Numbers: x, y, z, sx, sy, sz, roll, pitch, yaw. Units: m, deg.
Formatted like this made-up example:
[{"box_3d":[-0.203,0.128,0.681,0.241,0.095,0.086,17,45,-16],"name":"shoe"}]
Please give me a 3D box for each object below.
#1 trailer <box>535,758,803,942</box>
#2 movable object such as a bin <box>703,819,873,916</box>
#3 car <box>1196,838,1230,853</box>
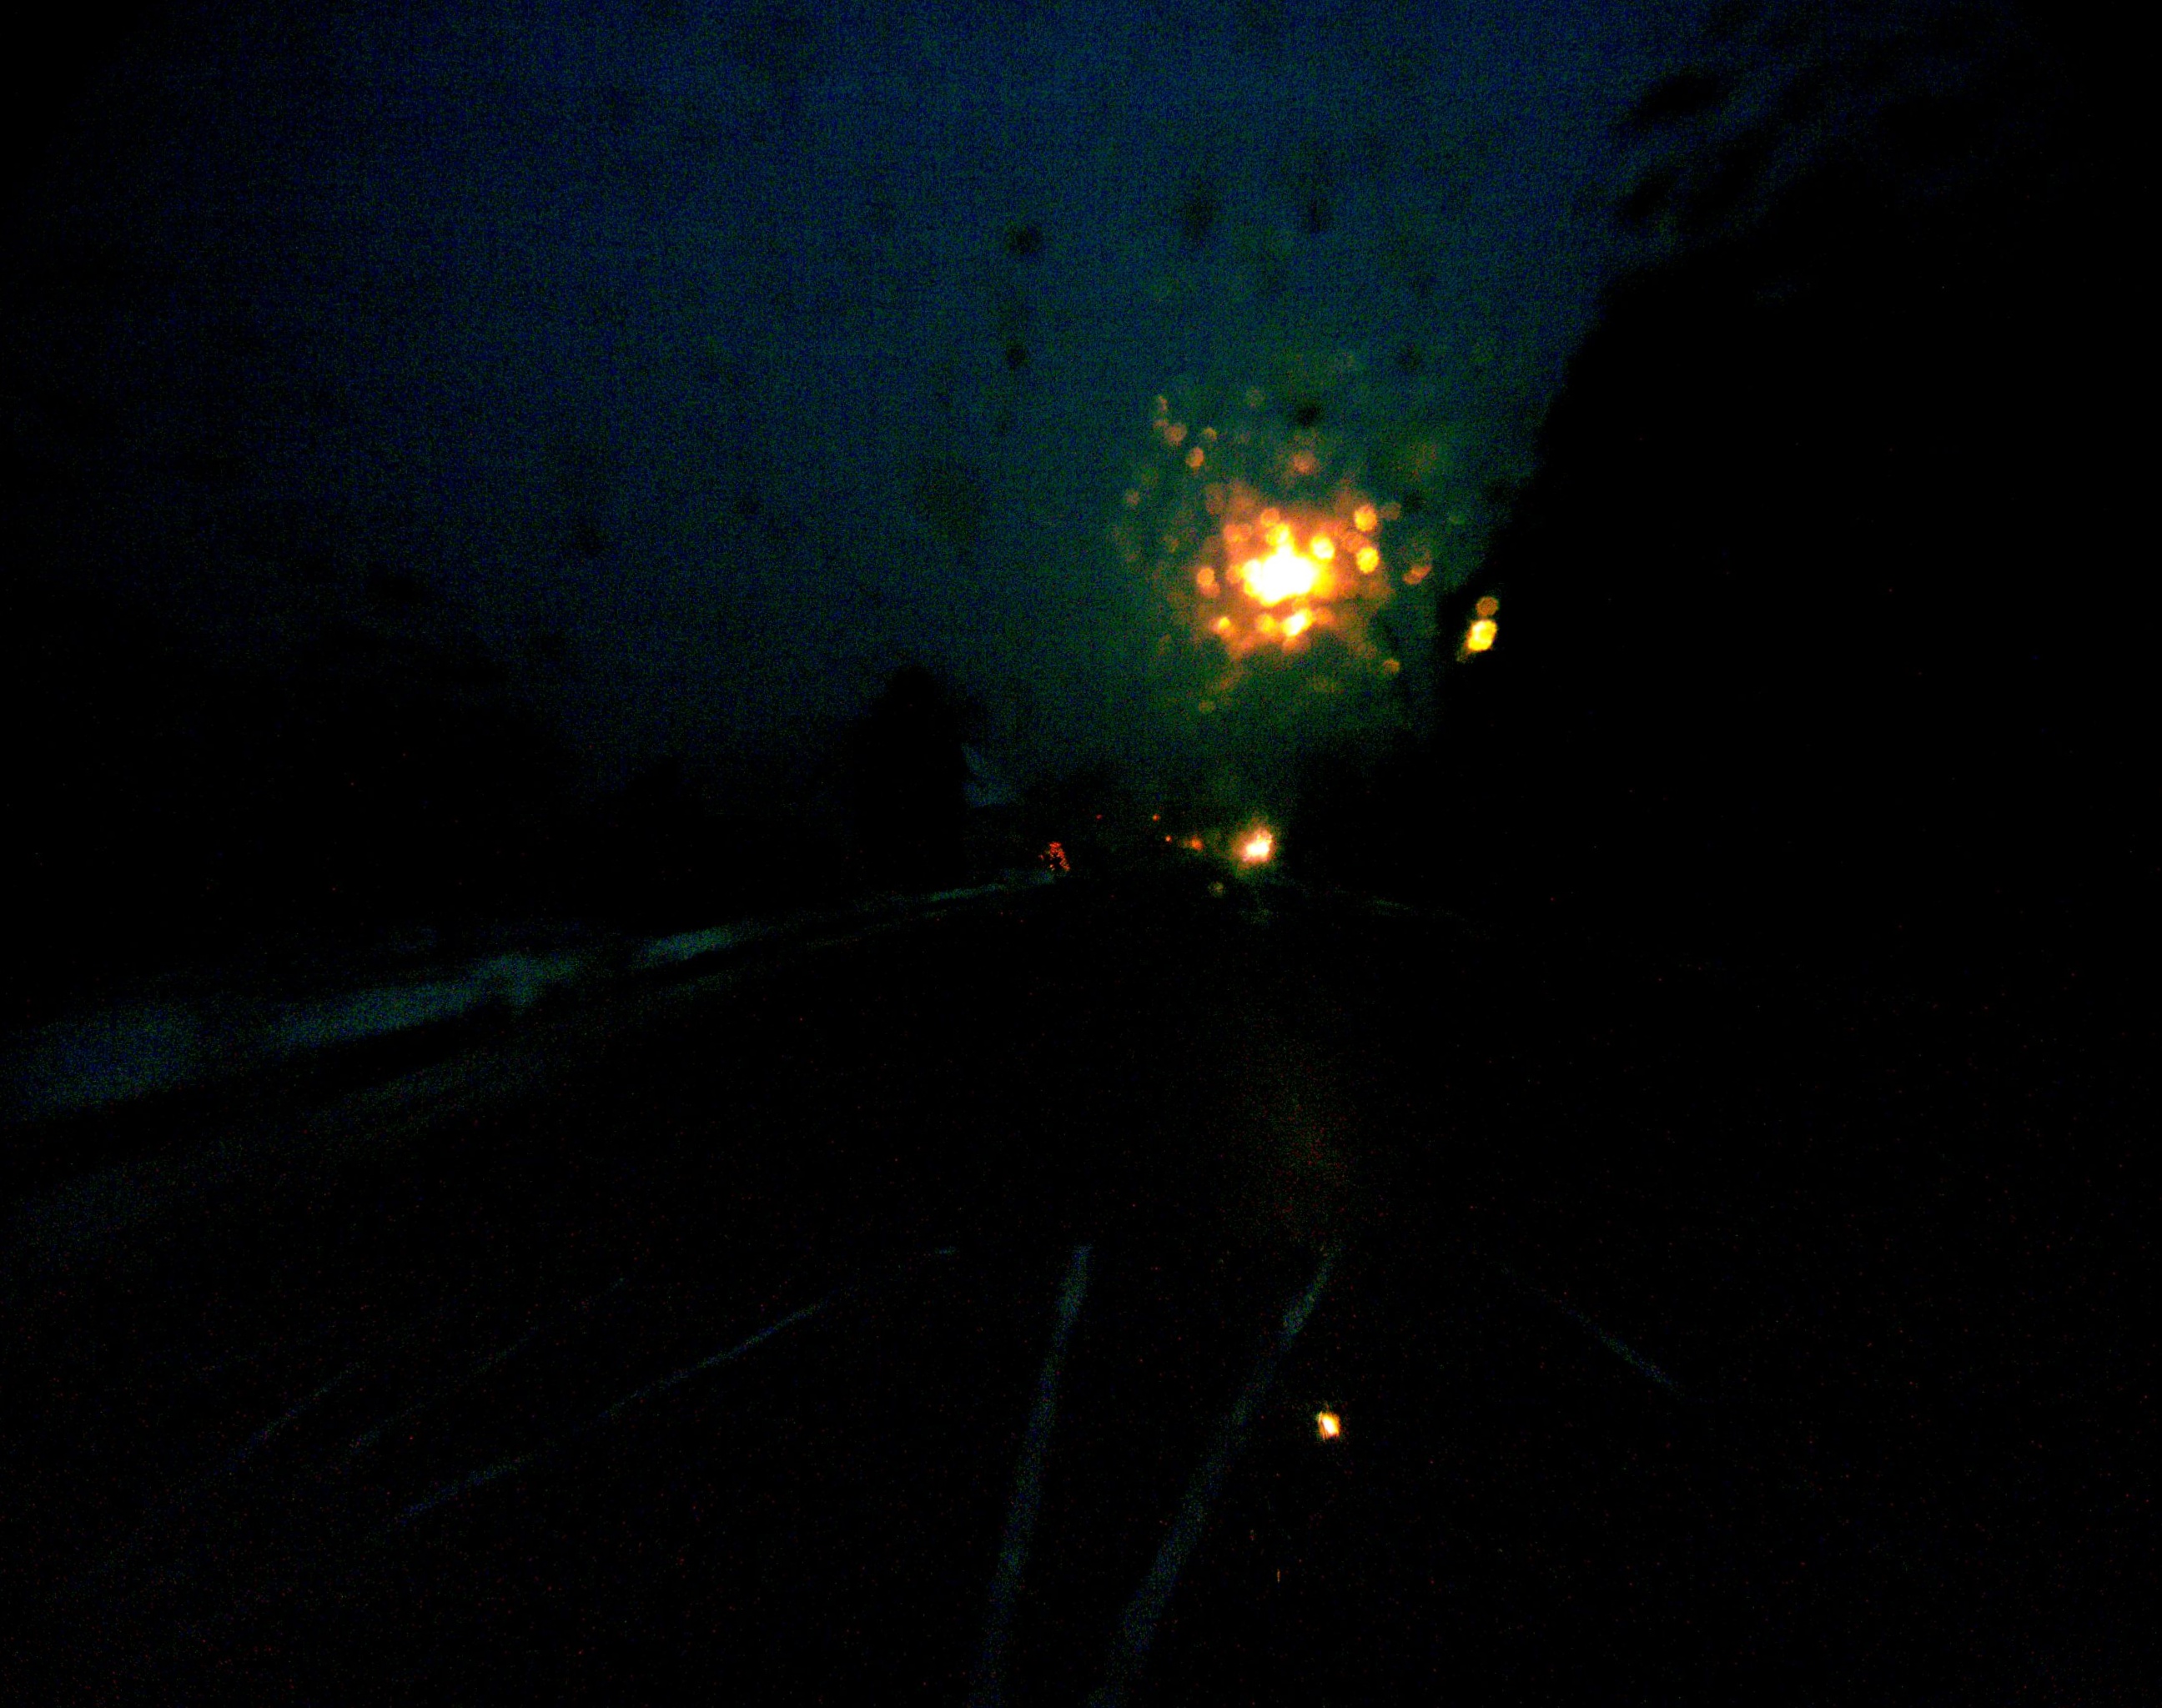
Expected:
[{"box_3d":[-9.020,-0.126,17.441,2.881,3.540,5.063,-2,2,6],"name":"trailer"},{"box_3d":[-8.279,0.297,22.017,2.391,2.455,4.518,-2,2,12],"name":"movable object such as a bin"},{"box_3d":[18.245,-1.222,105.138,4.207,1.848,1.914,2,5,35],"name":"car"}]
